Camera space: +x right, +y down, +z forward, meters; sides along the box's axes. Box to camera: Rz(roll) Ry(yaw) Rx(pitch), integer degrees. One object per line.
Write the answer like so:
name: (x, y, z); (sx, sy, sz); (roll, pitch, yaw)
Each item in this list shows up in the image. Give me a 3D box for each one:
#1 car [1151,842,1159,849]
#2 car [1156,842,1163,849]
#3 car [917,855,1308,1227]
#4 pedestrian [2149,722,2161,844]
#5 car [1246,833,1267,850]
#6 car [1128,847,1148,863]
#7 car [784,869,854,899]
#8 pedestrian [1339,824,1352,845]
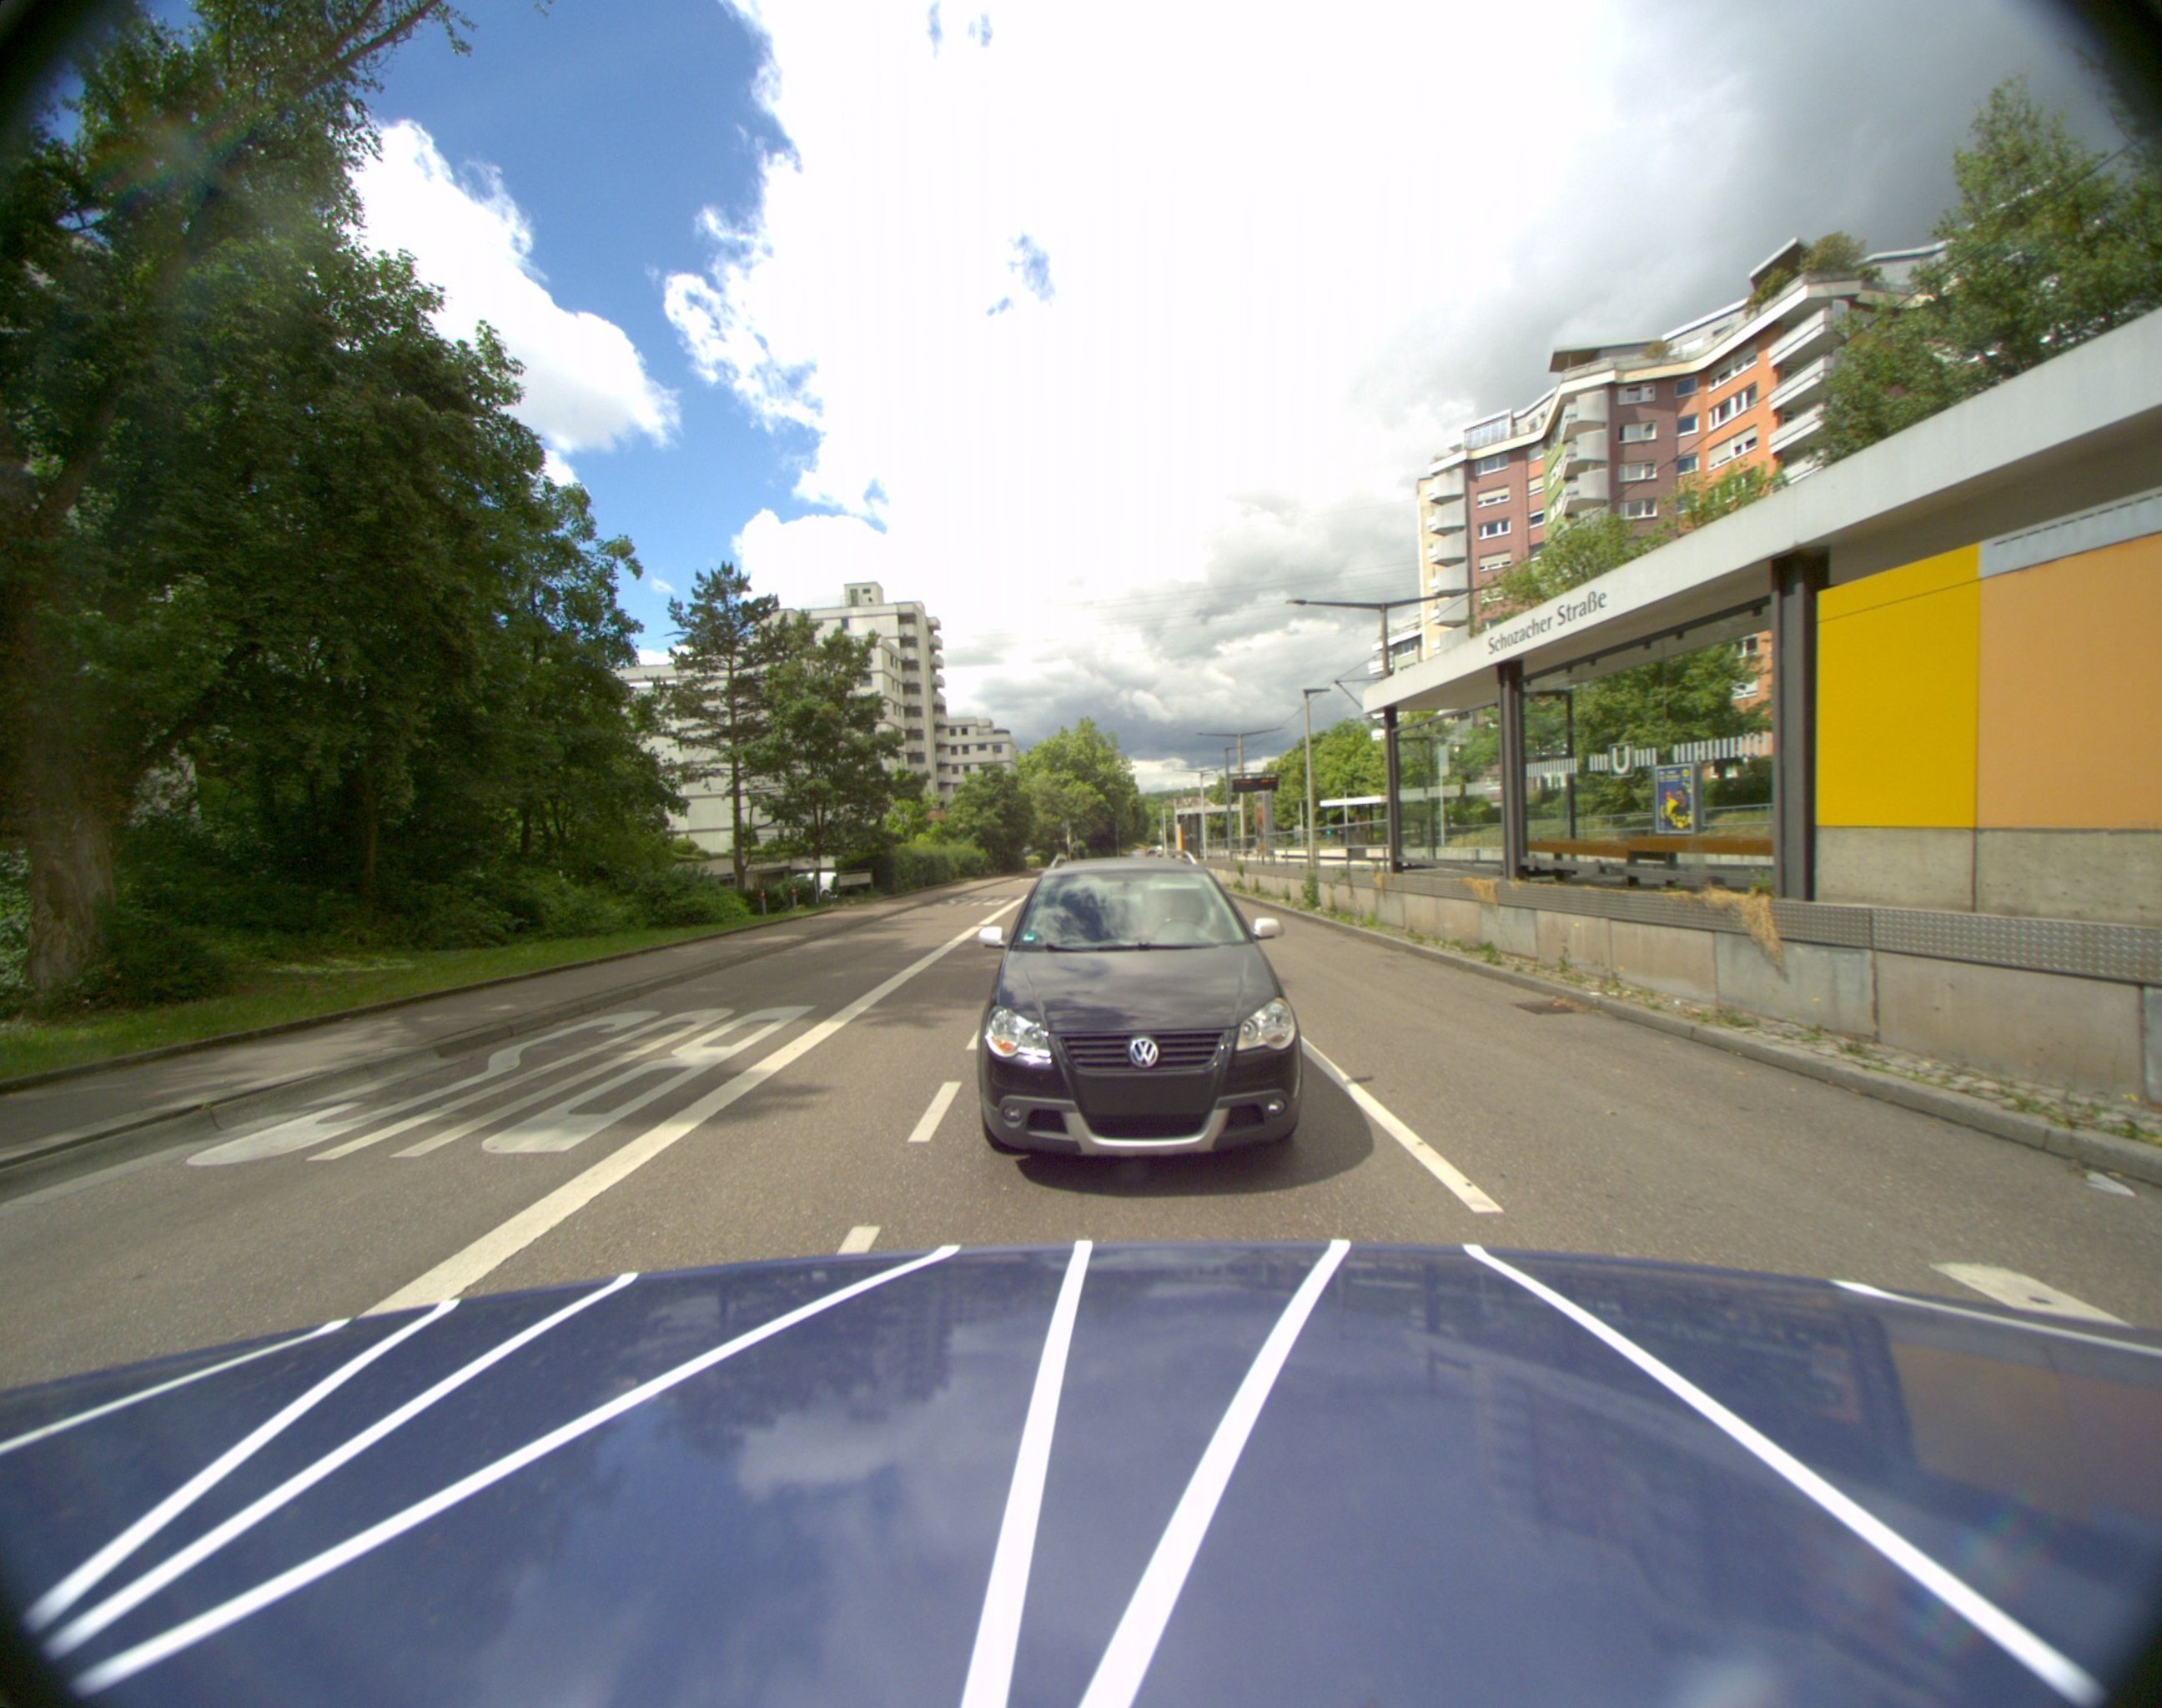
car: (15.153, -1.788, 155.552); (1.643, 1.395, 3.708); (-2, 1, 4)
car: (21.346, -2.403, 206.273); (1.801, 1.698, 4.001); (-3, 1, 6)
car: (0.226, 0.827, 5.306); (1.641, 1.521, 4.000); (-2, 1, 3)
pedestrian: (15.259, -0.995, 10.573); (0.354, 1.703, 0.426); (-3, 2, -41)
car: (22.153, -1.592, 96.151); (1.737, 2.002, 4.000); (-2, 1, 2)
car: (5.628, 0.086, 75.201); (1.821, 1.377, 4.065); (-2, 1, 2)
car: (-19.891, 2.235, 57.806); (4.543, 2.002, 2.001); (-2, 1, 7)
pedestrian: (16.109, -1.167, 46.293); (0.536, 1.270, 0.561); (-2, 1, -5)
